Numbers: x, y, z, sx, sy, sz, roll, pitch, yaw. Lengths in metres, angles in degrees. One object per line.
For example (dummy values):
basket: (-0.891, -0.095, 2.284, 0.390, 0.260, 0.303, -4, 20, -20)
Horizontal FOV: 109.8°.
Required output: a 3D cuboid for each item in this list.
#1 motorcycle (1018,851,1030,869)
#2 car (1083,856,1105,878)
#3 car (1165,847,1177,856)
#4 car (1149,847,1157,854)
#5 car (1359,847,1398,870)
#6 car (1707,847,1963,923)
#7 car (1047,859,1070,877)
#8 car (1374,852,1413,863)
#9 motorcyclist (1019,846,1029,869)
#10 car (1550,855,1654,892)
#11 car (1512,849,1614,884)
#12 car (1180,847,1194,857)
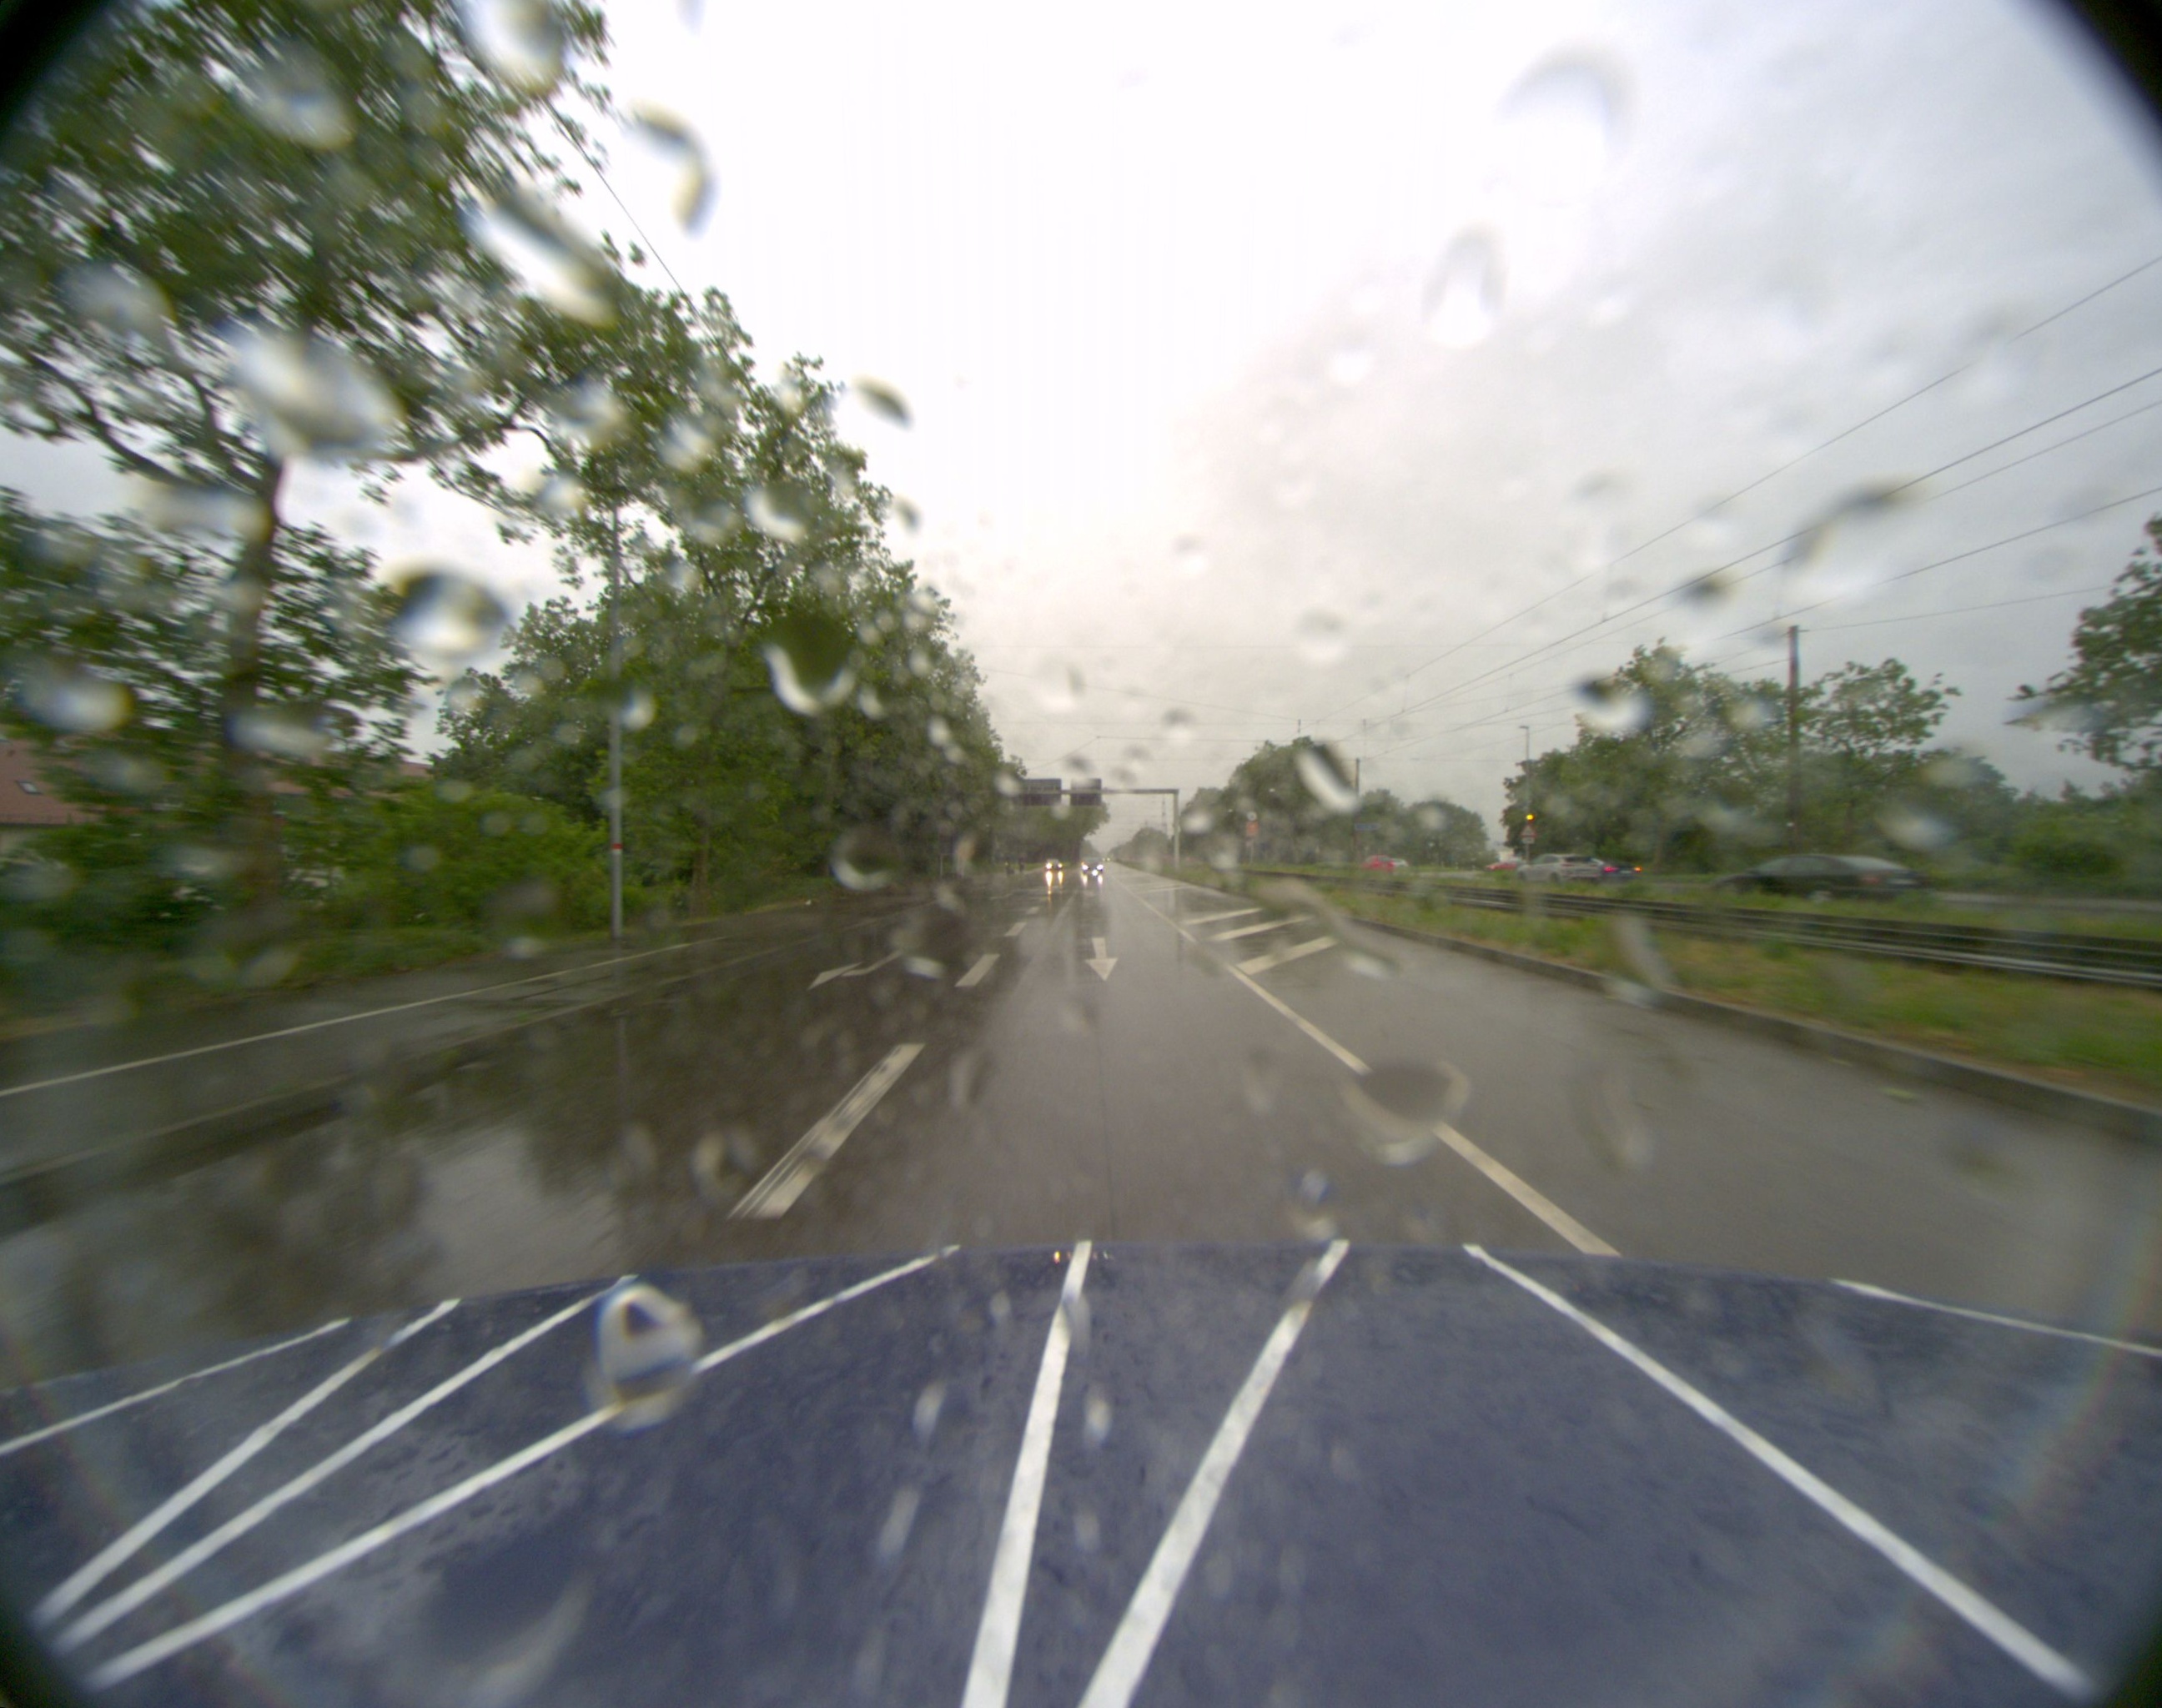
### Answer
motorcycle: (-5.534, 0.585, 73.984, 0.845, 1.710, 2.586, -1, 0, 1)
car: (1.242, 1.231, 72.815, 1.998, 2.002, 4.000, -1, 0, 1)
car: (18.903, -0.518, 159.810, 1.998, 2.002, 4.000, -1, 0, 1)
car: (22.387, -1.114, 235.636, 1.998, 2.002, 4.000, -1, 0, 1)
car: (22.243, 0.295, 56.917, 1.606, 1.580, 3.619, -1, 1, 1)
car: (18.402, 0.684, 18.930, 1.998, 1.586, 4.381, 3, 0, 1)
car: (-2.721, 1.575, 89.536, 2.000, 2.002, 3.996, -1, 0, -11)
car: (41.055, 0.459, 99.960, 4.486, 1.348, 1.607, -1, 1, 5)
motorcyclist: (-5.552, 0.319, 73.903, 0.762, 2.246, 0.916, -1, 1, 1)
car: (25.669, 0.896, 37.656, 1.999, 1.671, 4.538, -1, 0, 0)
car: (22.043, 0.516, 34.968, 1.998, 1.477, 4.298, -1, 0, 0)
car: (21.329, -0.421, 153.523, 1.975, 2.002, 4.519, -1, 0, -2)
